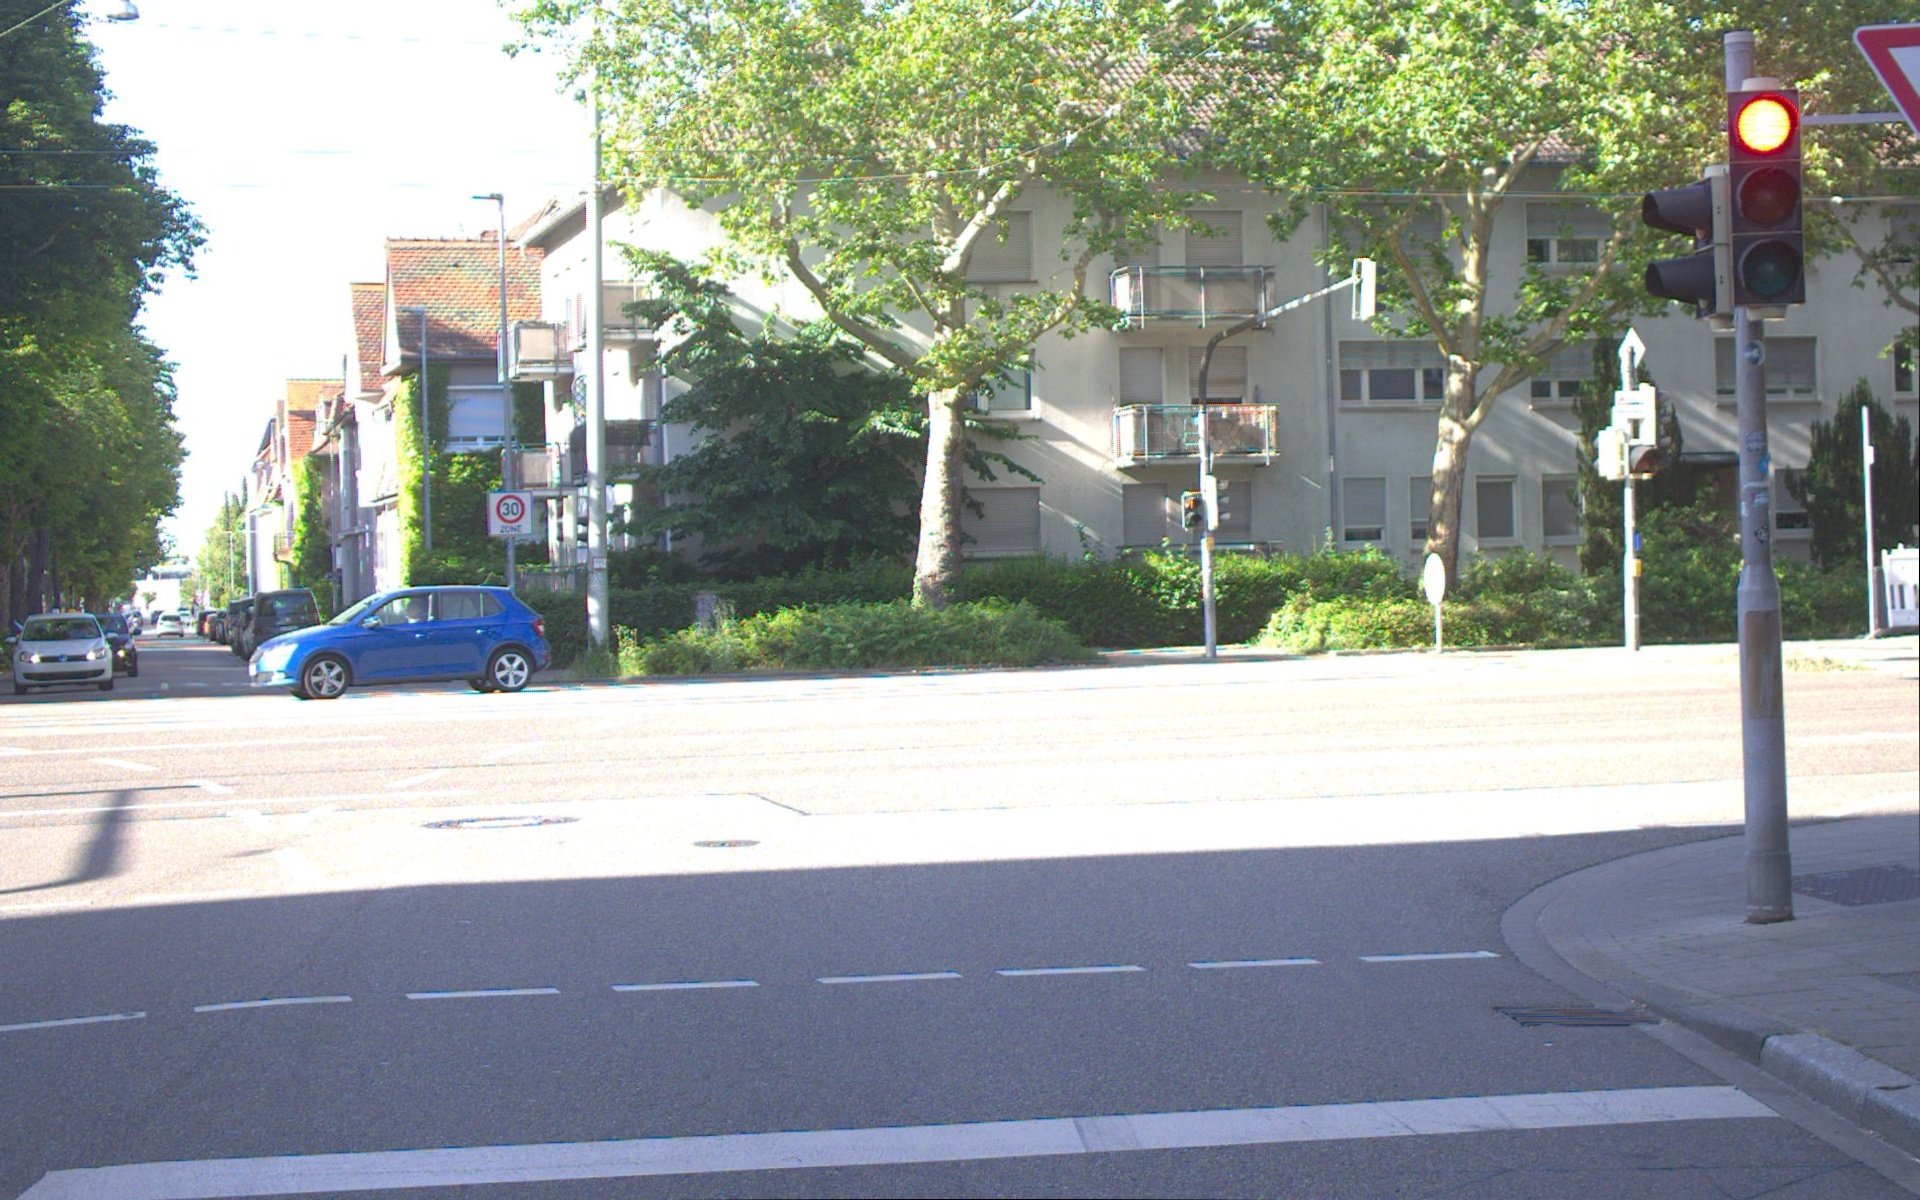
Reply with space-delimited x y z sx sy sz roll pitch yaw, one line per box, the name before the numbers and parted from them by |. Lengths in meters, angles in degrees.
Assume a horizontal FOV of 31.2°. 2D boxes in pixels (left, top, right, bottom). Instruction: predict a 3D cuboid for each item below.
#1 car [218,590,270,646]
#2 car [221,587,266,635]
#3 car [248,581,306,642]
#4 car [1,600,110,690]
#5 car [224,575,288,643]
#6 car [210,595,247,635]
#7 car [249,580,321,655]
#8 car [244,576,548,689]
car | -26.696 0.645 128.148 1.772 1.912 3.535 -3 1 -12
car | -30.526 0.461 146.433 1.772 1.912 3.535 -3 1 -12
car | -22.918 0.372 115.255 1.772 1.912 3.535 -3 1 -12
car | -16.641 0.810 63.352 1.698 1.478 3.535 -3 1 -12
car | -21.448 0.251 104.638 1.772 1.912 3.535 -3 1 -12
car | -38.462 0.781 180.815 1.772 1.912 3.535 -3 1 -12
car | -18.556 0.457 94.463 1.772 1.912 3.535 -3 1 -12
car | -7.582 0.419 46.185 3.780 1.395 1.646 -1 1 -19
